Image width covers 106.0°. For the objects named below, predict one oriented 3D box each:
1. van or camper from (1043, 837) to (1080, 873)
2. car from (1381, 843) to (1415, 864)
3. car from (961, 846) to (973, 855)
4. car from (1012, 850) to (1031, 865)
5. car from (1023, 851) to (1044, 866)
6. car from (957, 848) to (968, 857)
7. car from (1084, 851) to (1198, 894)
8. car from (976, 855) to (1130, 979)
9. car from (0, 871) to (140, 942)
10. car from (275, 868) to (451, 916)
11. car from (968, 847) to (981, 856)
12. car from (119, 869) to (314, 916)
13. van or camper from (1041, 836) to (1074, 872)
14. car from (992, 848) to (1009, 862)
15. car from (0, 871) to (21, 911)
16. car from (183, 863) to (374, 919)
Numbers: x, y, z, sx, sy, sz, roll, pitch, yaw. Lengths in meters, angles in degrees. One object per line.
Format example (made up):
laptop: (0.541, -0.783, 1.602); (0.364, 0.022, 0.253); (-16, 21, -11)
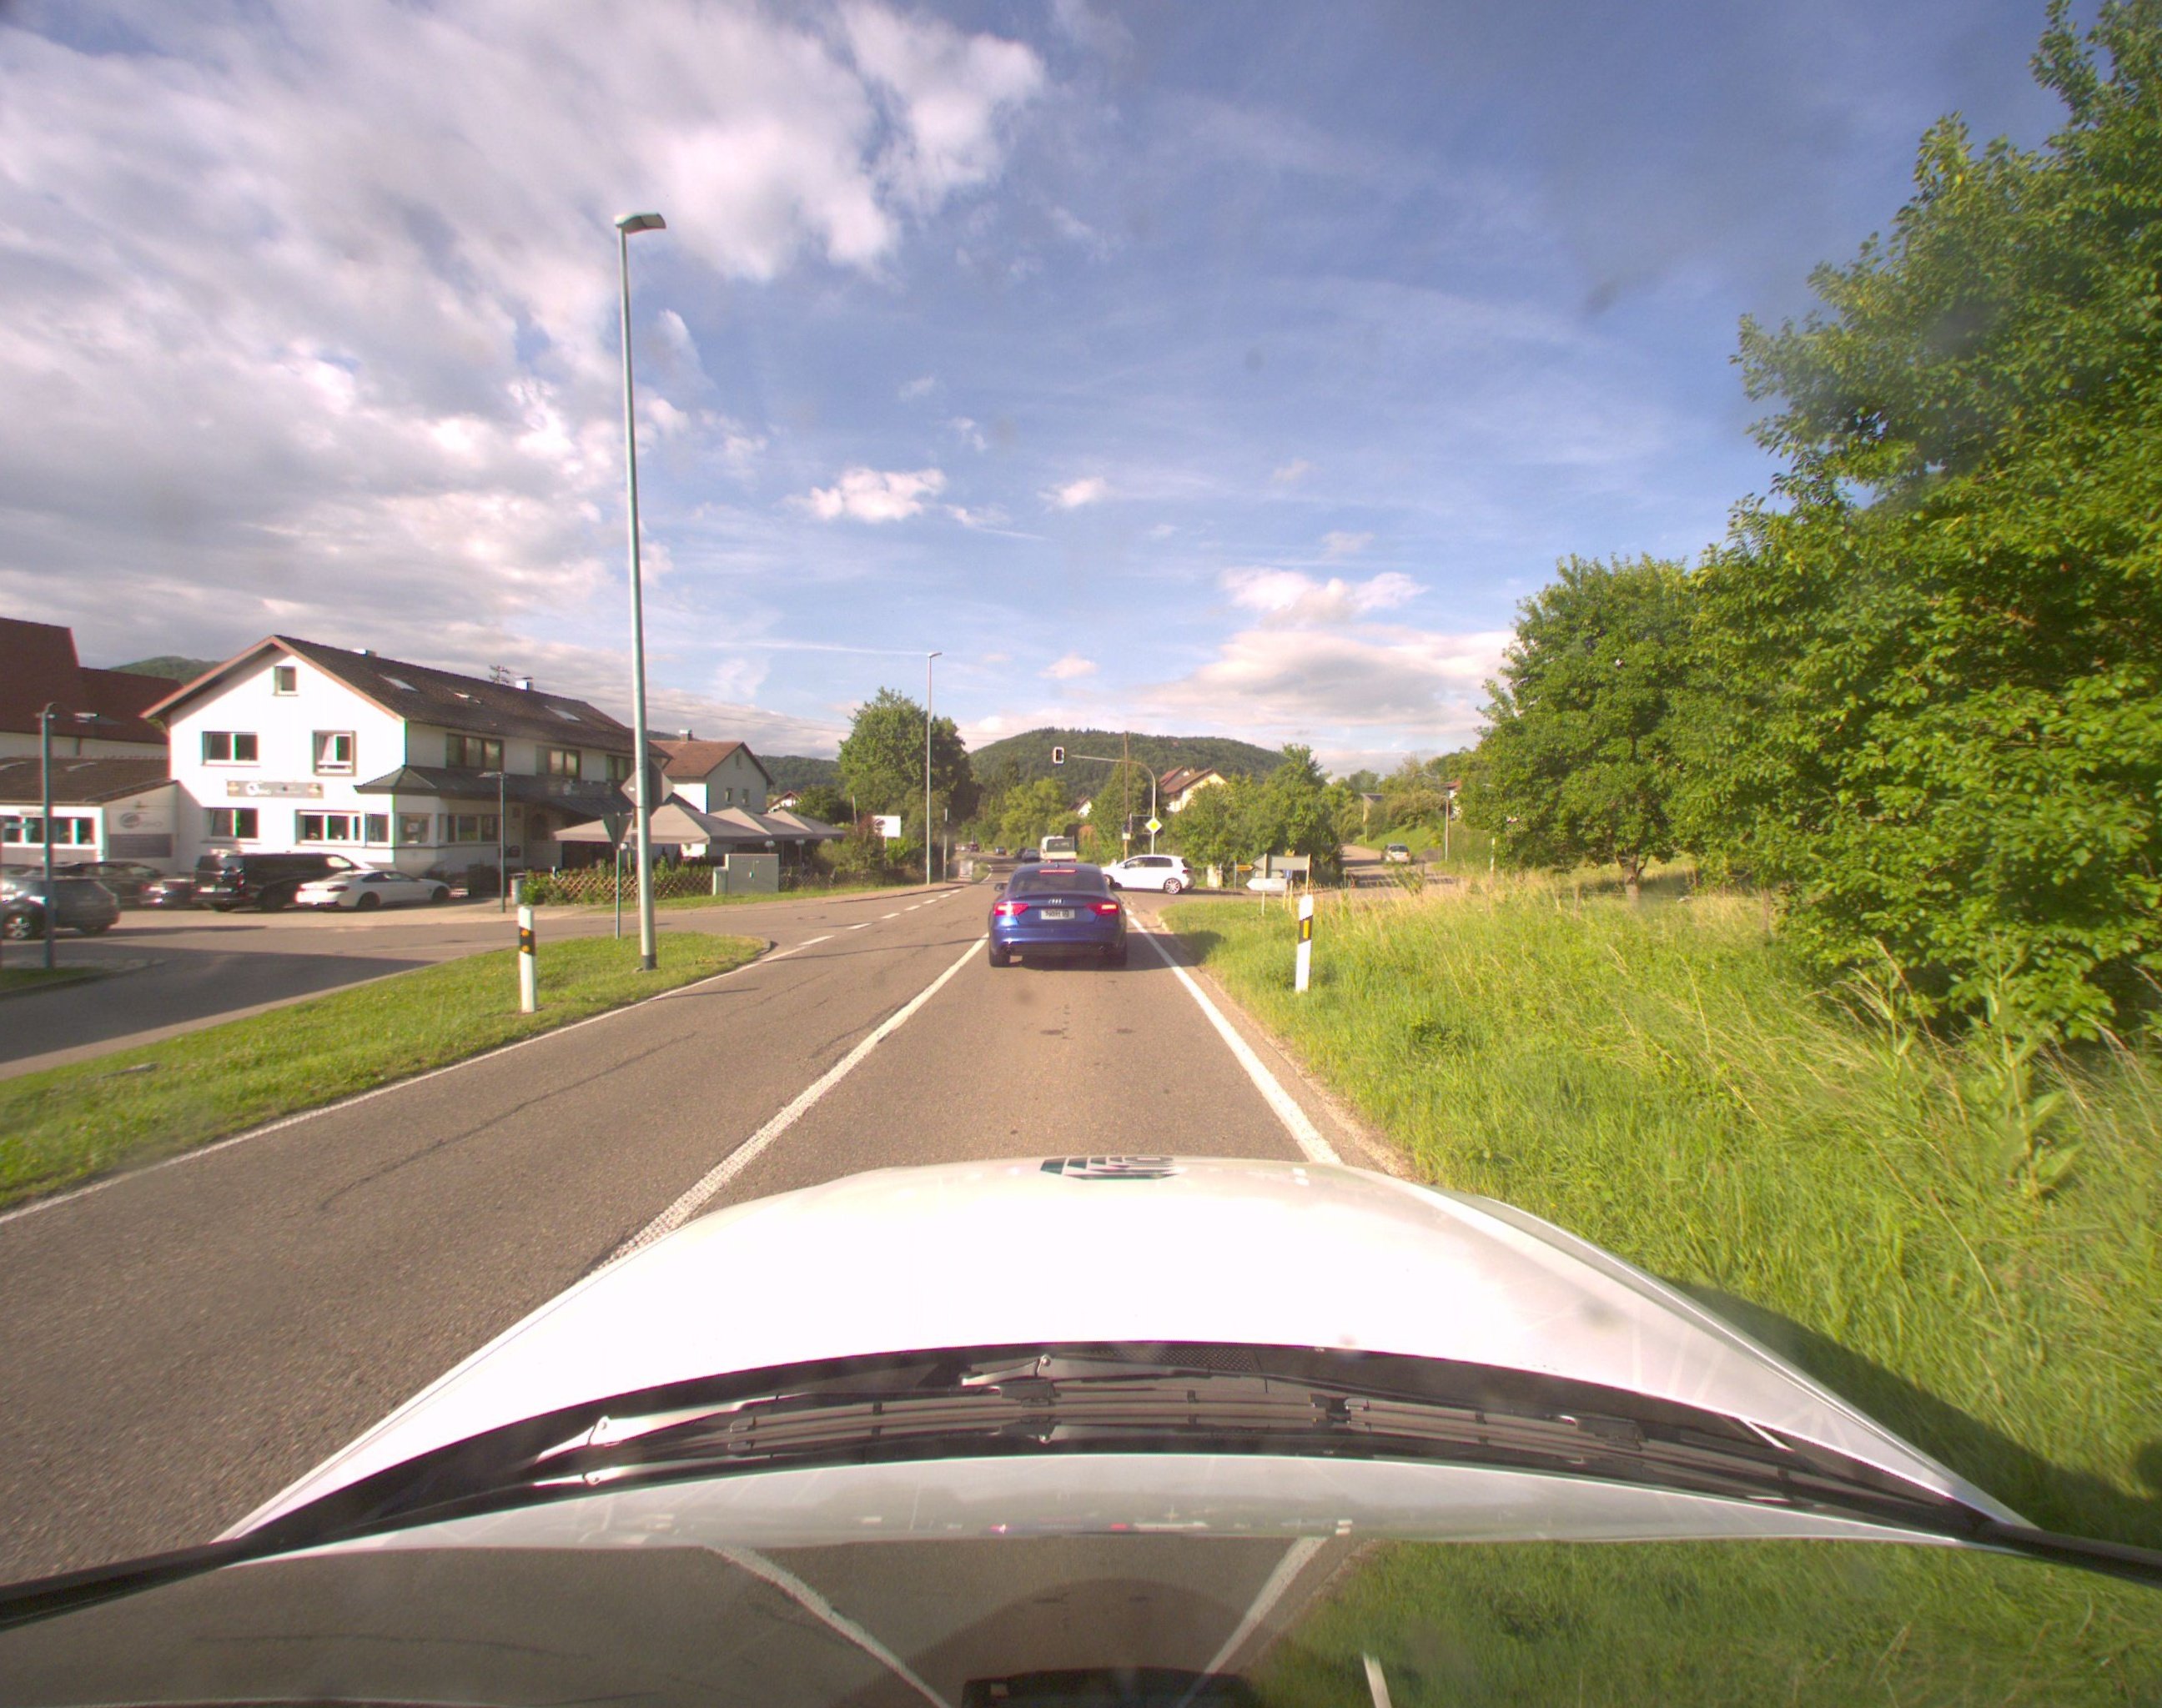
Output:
van or camper: (-1.414, 0.023, 56.446); (2.177, 2.385, 5.359); (-1, 1, -6)
car: (23.573, -0.033, 60.610); (1.978, 1.464, 4.017); (-1, -1, 16)
car: (-23.097, -0.645, 164.604); (1.946, 1.684, 3.980); (-2, 0, -15)
car: (-7.443, 0.427, 101.643); (1.797, 1.793, 3.985); (-1, 1, -11)
car: (-5.313, 0.455, 90.290); (1.820, 1.552, 3.986); (-2, 0, -10)
car: (-25.276, -0.360, 173.392); (1.752, 1.782, 3.979); (-1, 1, -15)
car: (2.368, 0.690, 31.731); (4.131, 1.414, 1.783); (3, 1, 13)
car: (-0.382, 0.759, 11.966); (1.825, 1.409, 4.224); (-2, 0, -2)
car: (-27.996, 1.380, 21.423); (3.981, 1.684, 1.889); (-2, 0, -6)
car: (-25.214, 1.297, 28.889); (1.985, 1.389, 4.580); (-2, 0, 3)
car: (-20.277, -0.452, 155.189); (2.044, 1.684, 3.980); (-1, 1, -15)
car: (-30.993, 1.344, 29.457); (1.985, 1.389, 4.580); (-2, 0, 3)
van or camper: (-2.138, -0.041, 70.932); (2.412, 2.904, 6.119); (-1, 1, -6)
car: (-12.319, 0.100, 125.140); (1.996, 2.013, 3.981); (-2, 0, -14)
car: (-40.184, 1.390, 27.755); (1.985, 1.412, 4.580); (-2, 0, 3)
car: (-27.903, 1.224, 28.594); (1.985, 1.685, 4.580); (-2, 0, 3)
